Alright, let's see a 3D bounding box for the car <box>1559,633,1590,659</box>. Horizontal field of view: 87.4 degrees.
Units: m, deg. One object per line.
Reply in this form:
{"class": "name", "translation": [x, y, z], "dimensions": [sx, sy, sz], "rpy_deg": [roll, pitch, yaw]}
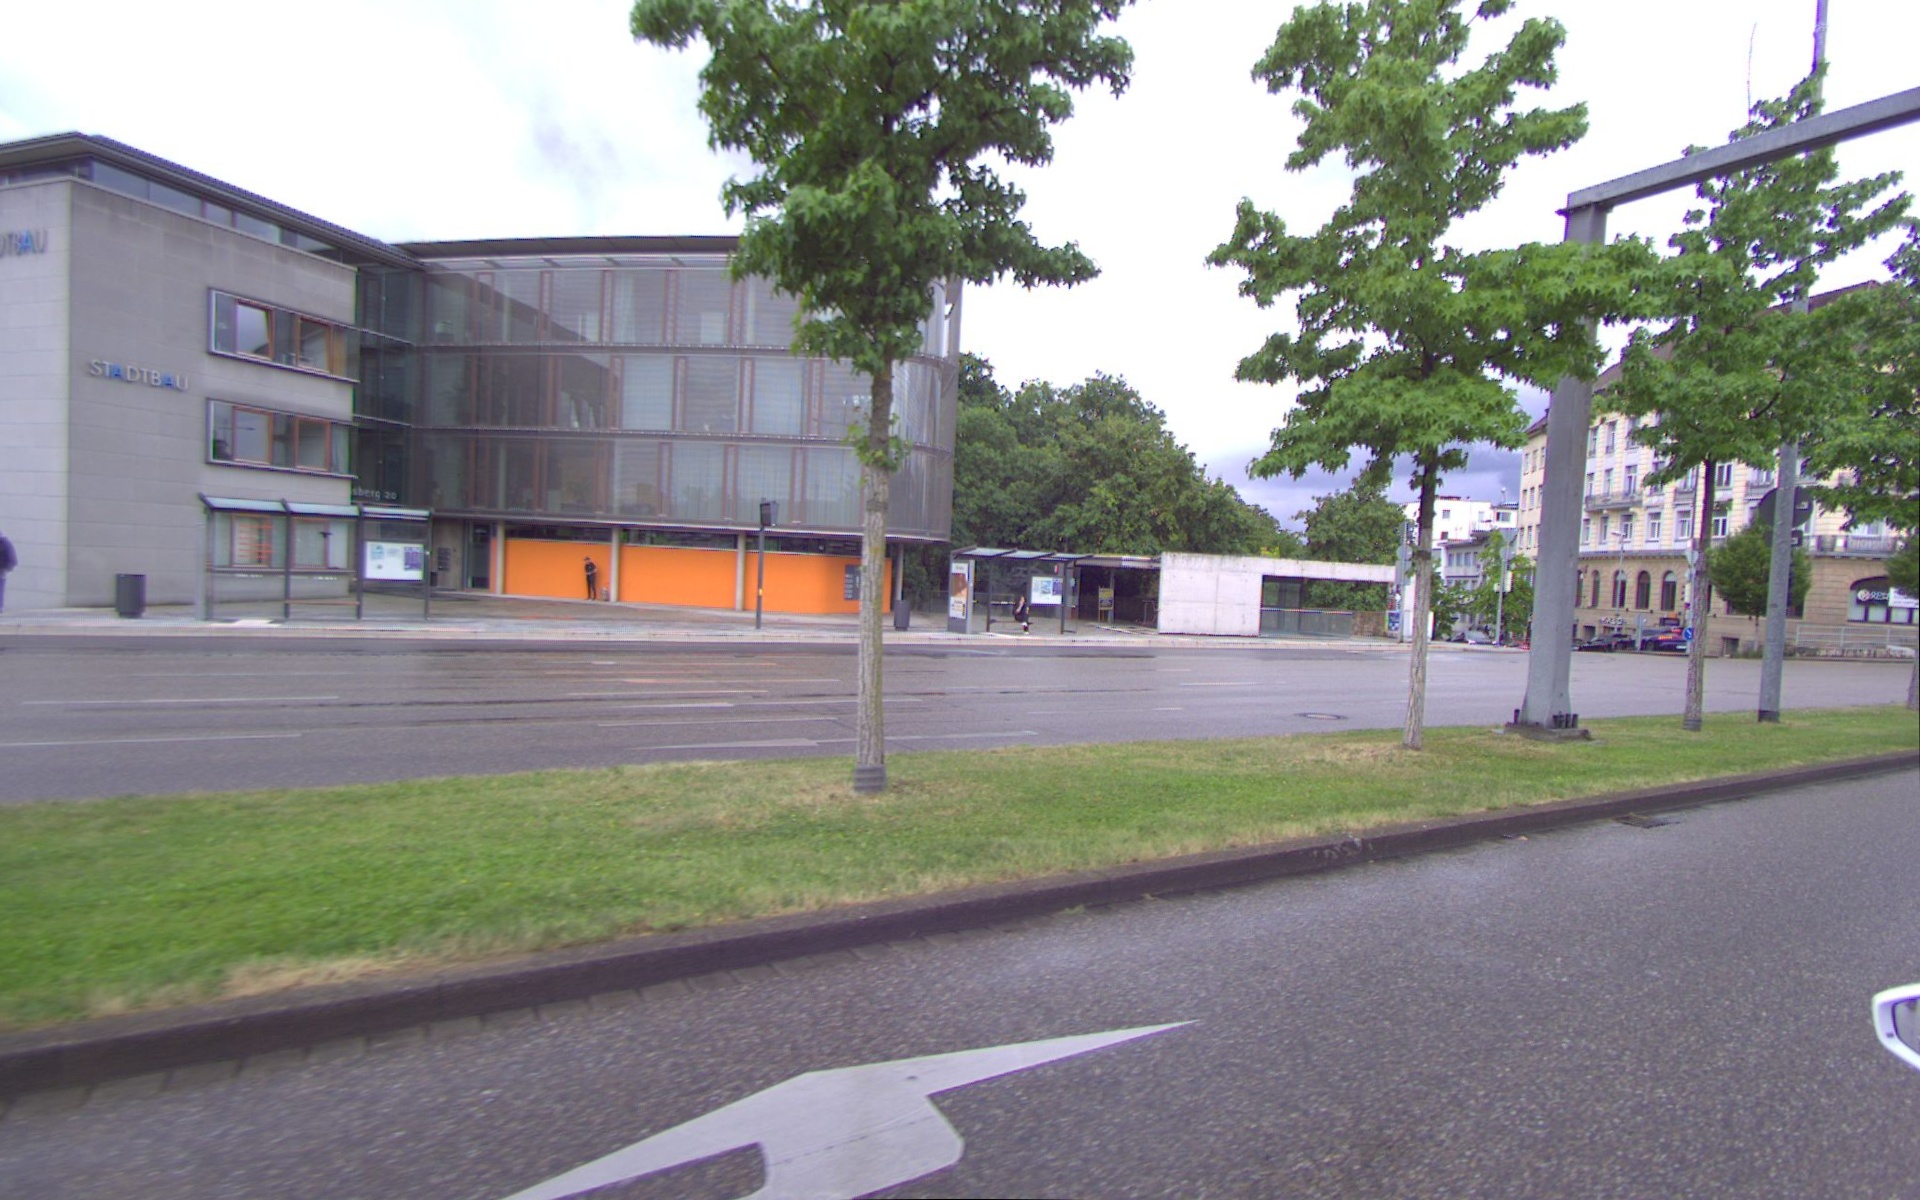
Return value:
{"class": "car", "translation": [41.317, 3.067, 67.586], "dimensions": [1.633, 1.626, 3.247], "rpy_deg": [-1, -1, 29]}

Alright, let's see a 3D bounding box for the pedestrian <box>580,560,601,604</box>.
{"class": "pedestrian", "translation": [-14.728, -0.706, 40.065], "dimensions": [0.630, 1.706, 0.475], "rpy_deg": [2, 0, 0]}

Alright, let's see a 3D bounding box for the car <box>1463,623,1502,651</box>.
{"class": "car", "translation": [33.328, 2.331, 64.148], "dimensions": [1.962, 1.606, 3.474], "rpy_deg": [2, 0, 24]}

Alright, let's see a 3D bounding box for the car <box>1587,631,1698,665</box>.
{"class": "car", "translation": [34.947, 2.415, 51.512], "dimensions": [1.802, 1.591, 4.365], "rpy_deg": [2, -1, -32]}

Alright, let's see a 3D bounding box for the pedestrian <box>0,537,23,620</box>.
{"class": "pedestrian", "translation": [-19.904, -0.450, 20.677], "dimensions": [0.753, 1.706, 0.472], "rpy_deg": [2, 0, -25]}

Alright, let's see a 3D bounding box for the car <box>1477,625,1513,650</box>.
{"class": "car", "translation": [38.520, 2.656, 72.275], "dimensions": [1.811, 1.649, 3.694], "rpy_deg": [3, 1, 34]}

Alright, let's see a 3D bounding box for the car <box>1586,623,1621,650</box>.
{"class": "car", "translation": [40.386, 2.269, 63.098], "dimensions": [1.634, 1.626, 3.246], "rpy_deg": [-1, -1, 30]}

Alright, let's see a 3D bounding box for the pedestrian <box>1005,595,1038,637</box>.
{"class": "pedestrian", "translation": [2.043, 0.517, 33.466], "dimensions": [0.834, 1.285, 0.976], "rpy_deg": [2, 4, -10]}
